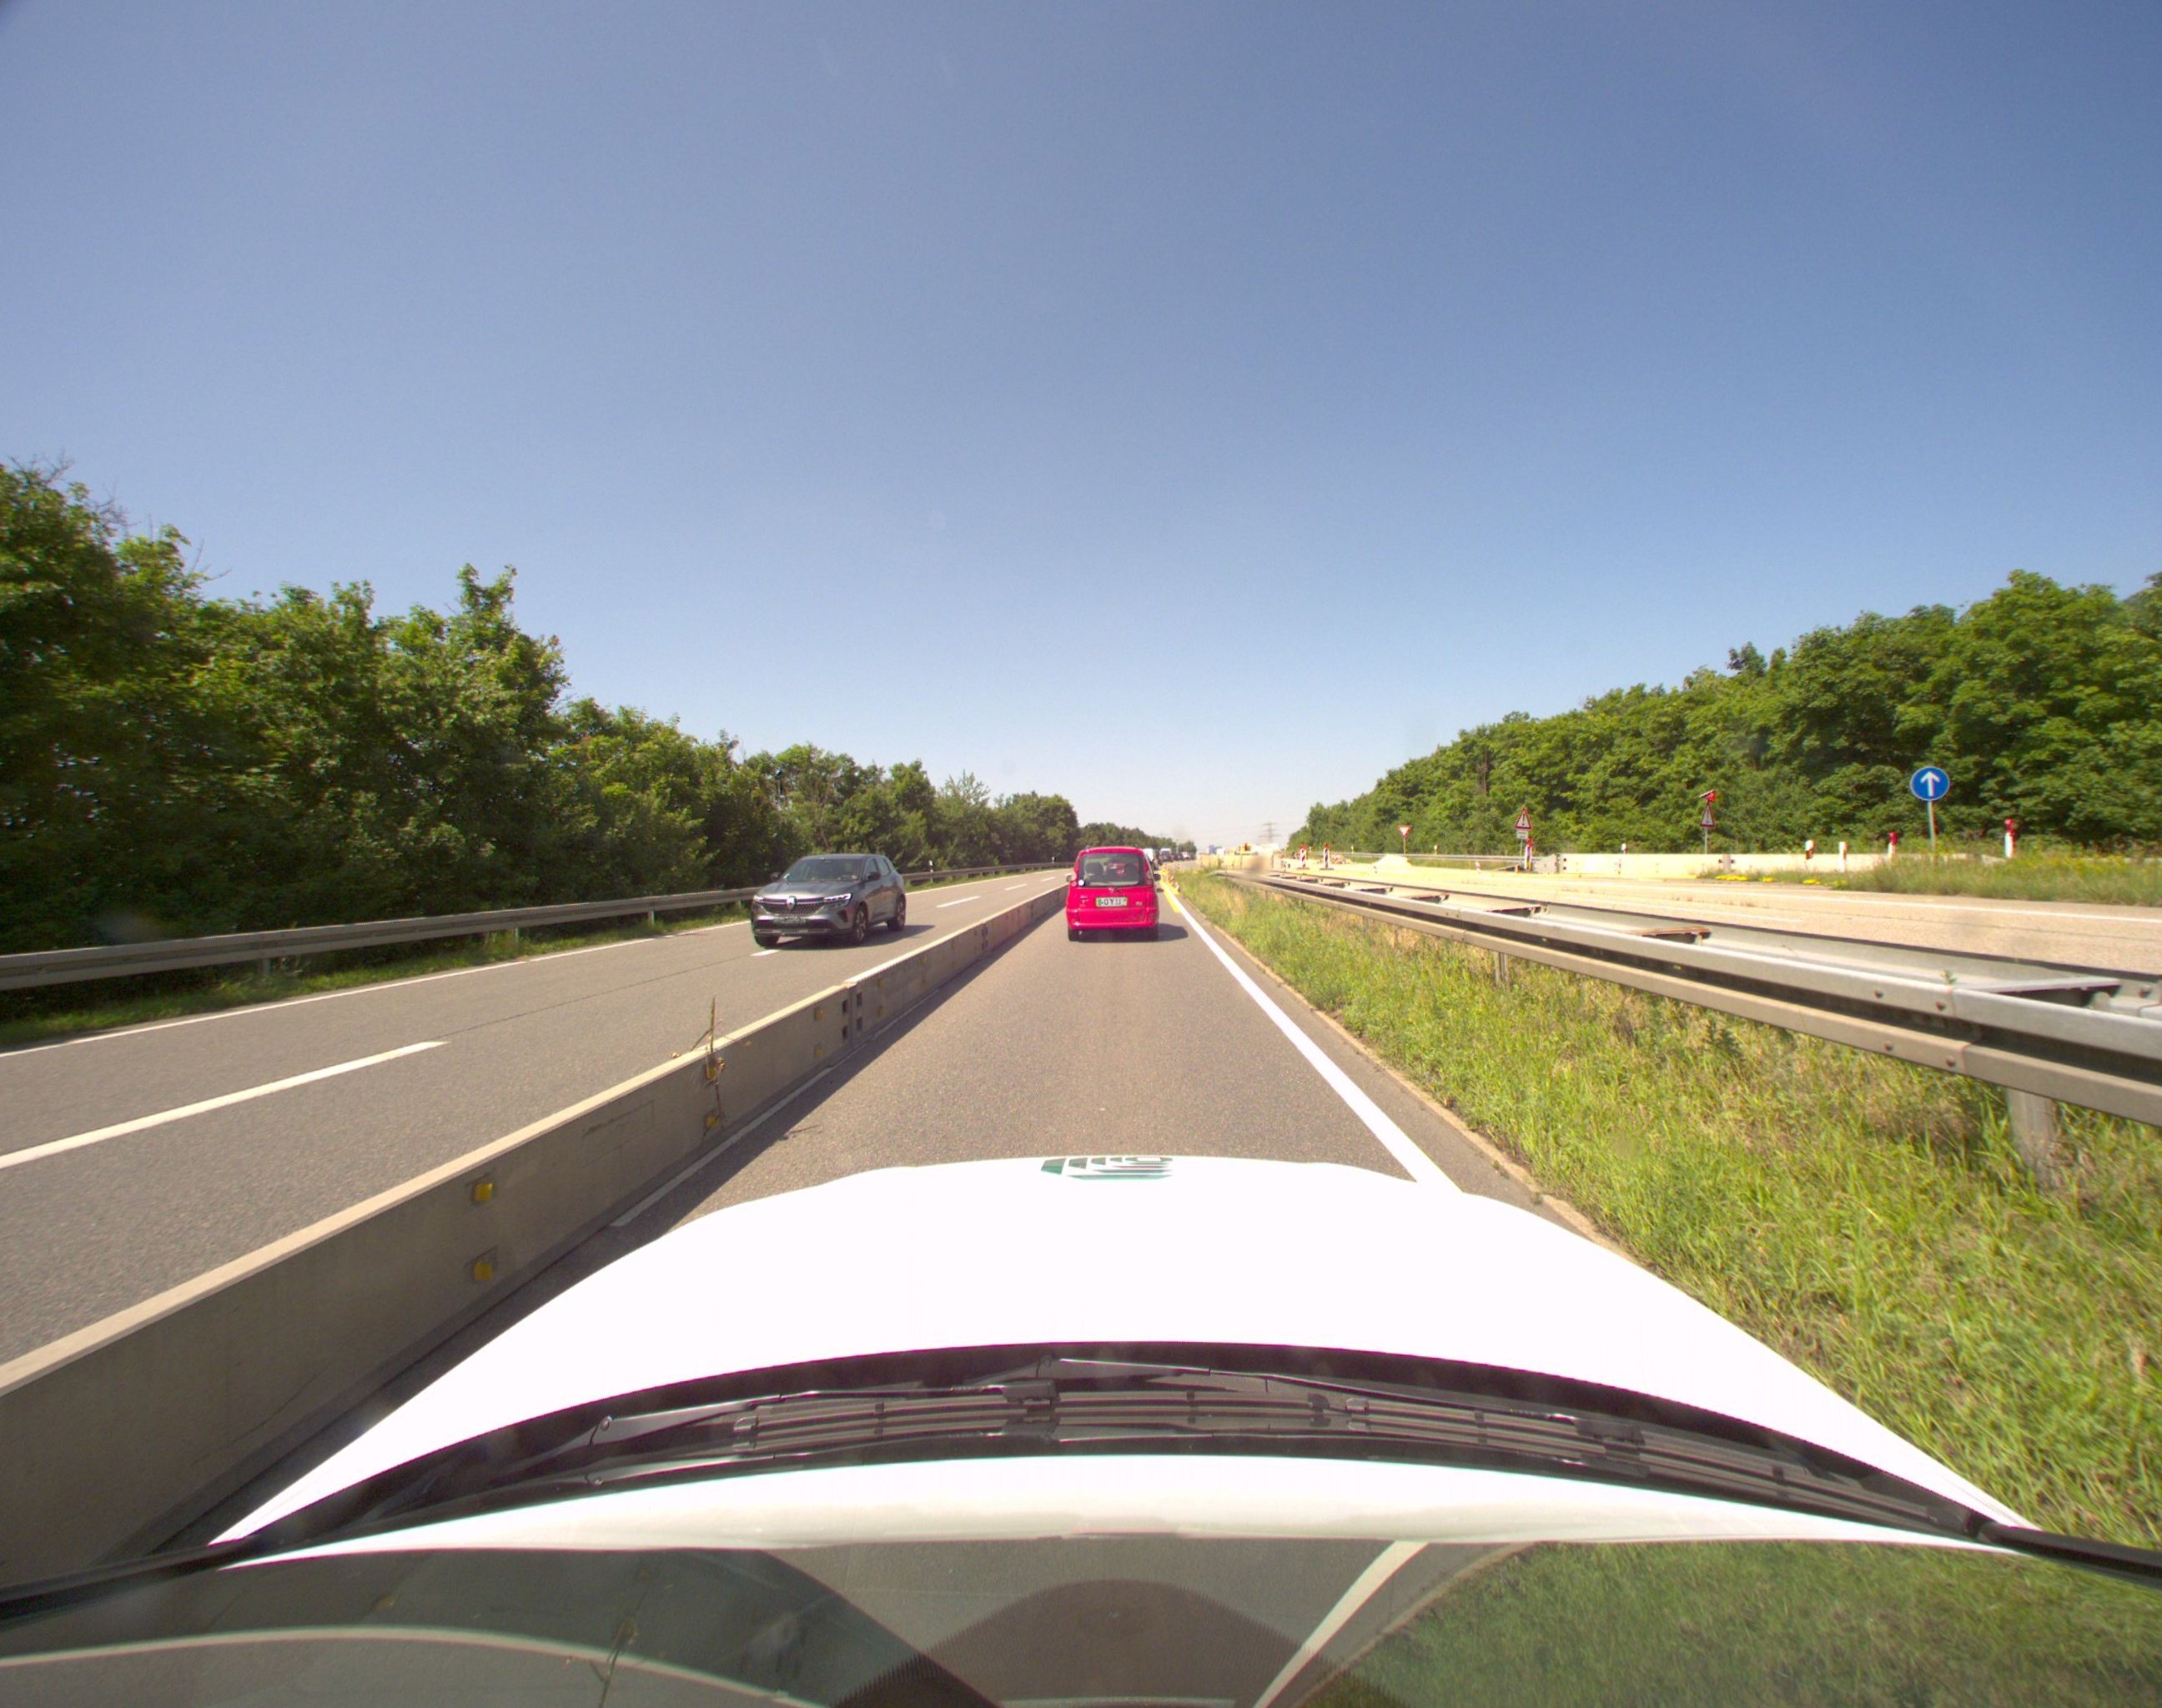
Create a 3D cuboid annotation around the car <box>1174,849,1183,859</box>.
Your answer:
[{"bbox_3d":[18.486,0.008,153.782,1.495,1.736,3.173,-1,0,4],"label":"car"}]

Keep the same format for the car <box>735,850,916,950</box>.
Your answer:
[{"bbox_3d":[-4.655,0.766,15.607,1.849,1.638,4.388,0,0,3],"label":"car"}]

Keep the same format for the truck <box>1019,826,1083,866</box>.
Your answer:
[{"bbox_3d":[-4.292,-1.161,117.350,8.580,5.375,3.393,-2,0,4],"label":"truck"}]

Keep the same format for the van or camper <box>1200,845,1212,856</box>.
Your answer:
[{"bbox_3d":[30.179,-0.848,196.304,2.319,2.707,4.594,-2,-1,1],"label":"van or camper"}]

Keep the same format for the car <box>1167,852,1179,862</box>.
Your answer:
[{"bbox_3d":[15.779,0.475,140.204,1.983,1.585,4.008,-1,0,7],"label":"car"}]

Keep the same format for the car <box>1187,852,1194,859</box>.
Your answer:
[{"bbox_3d":[24.704,0.304,183.411,1.494,1.450,3.175,-1,0,6],"label":"car"}]

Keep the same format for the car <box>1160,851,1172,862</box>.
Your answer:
[{"bbox_3d":[12.272,0.308,117.410,1.495,1.450,3.328,-2,0,4],"label":"car"}]

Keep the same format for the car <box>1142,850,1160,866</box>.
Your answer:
[{"bbox_3d":[7.841,0.491,91.278,1.984,1.750,4.005,0,0,4],"label":"car"}]

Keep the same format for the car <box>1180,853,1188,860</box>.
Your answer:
[{"bbox_3d":[21.519,0.543,170.129,1.414,1.298,2.884,-1,0,6],"label":"car"}]

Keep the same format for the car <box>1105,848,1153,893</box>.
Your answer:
[{"bbox_3d":[1.971,0.632,33.404,1.822,1.722,4.004,-1,0,4],"label":"car"}]

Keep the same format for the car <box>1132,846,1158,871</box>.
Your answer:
[{"bbox_3d":[5.292,0.380,67.763,1.986,2.003,4.002,-1,0,2],"label":"car"}]

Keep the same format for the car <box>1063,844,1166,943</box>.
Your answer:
[{"bbox_3d":[0.677,0.685,15.951,1.744,1.673,4.003,-1,0,3],"label":"car"}]

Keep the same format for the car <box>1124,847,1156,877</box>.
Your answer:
[{"bbox_3d":[3.820,0.488,52.493,1.984,1.838,4.005,-1,0,5],"label":"car"}]
